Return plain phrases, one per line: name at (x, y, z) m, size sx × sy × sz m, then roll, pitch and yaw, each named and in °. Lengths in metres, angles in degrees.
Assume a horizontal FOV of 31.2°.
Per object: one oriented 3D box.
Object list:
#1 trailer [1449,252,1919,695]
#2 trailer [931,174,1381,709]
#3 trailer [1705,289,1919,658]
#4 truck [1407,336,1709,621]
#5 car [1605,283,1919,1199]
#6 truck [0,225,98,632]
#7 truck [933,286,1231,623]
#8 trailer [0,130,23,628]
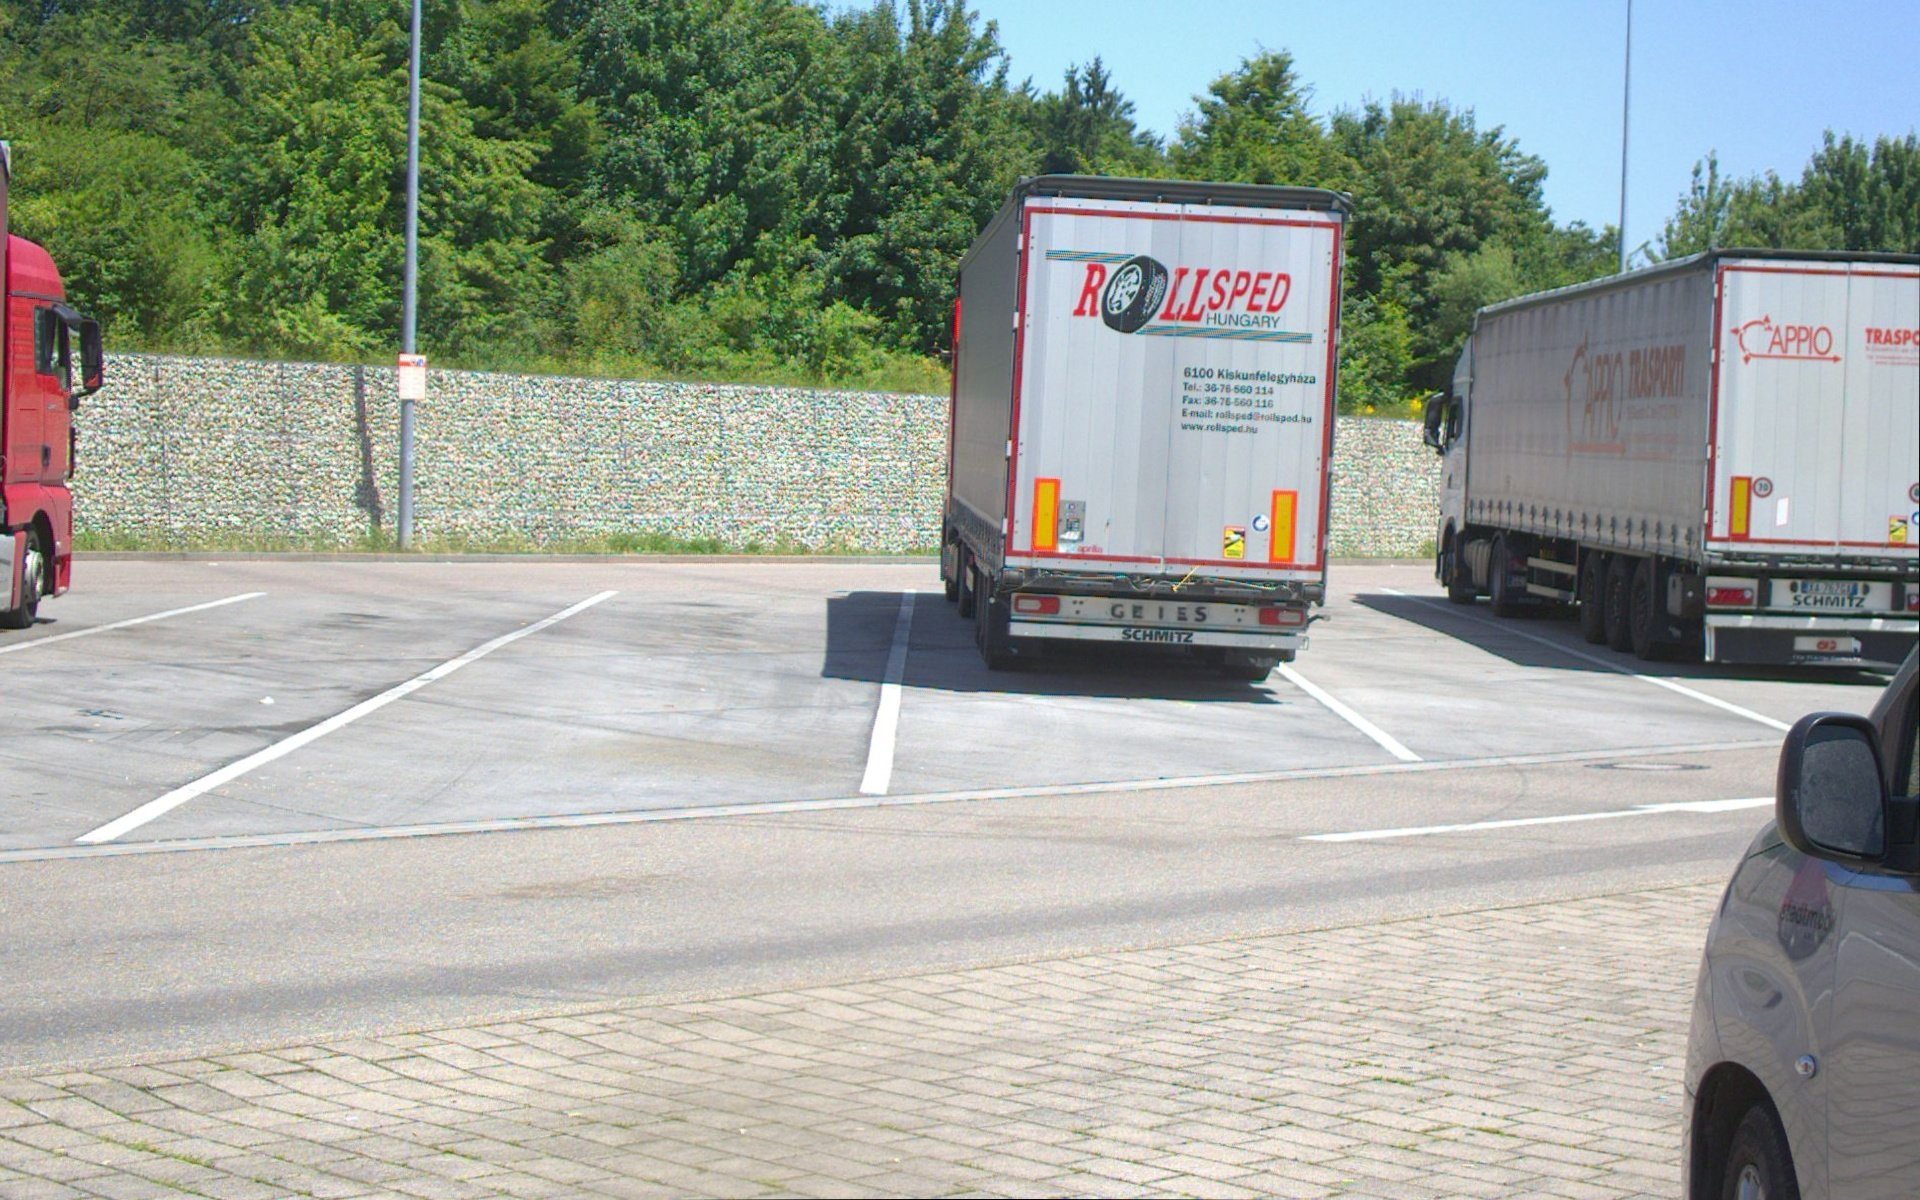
trailer at (8.108, -1.530, 38.727) m, size 2.811 × 3.976 × 14.396 m, roll 2°, pitch 3°, yaw -1°
trailer at (1.442, -1.599, 33.615) m, size 3.133 × 3.976 × 14.397 m, roll 2°, pitch 3°, yaw -1°
trailer at (11.749, -1.462, 39.779) m, size 2.811 × 3.976 × 14.396 m, roll 2°, pitch 3°, yaw -1°
truck at (8.015, -1.707, 46.828) m, size 2.862 × 3.509 × 5.900 m, roll 2°, pitch 3°, yaw -1°
car at (2.146, 0.586, 3.846) m, size 1.869 × 1.857 × 4.177 m, roll 2°, pitch 2°, yaw -2°
truck at (-9.243, -1.449, 28.138) m, size 2.851 × 3.316 × 5.900 m, roll 2°, pitch 3°, yaw -1°
truck at (1.305, -1.742, 40.507) m, size 3.103 × 3.554 × 5.900 m, roll 2°, pitch 3°, yaw -1°
trailer at (-9.199, -1.492, 21.564) m, size 2.791 × 4.071 × 14.133 m, roll 2°, pitch 3°, yaw -1°
